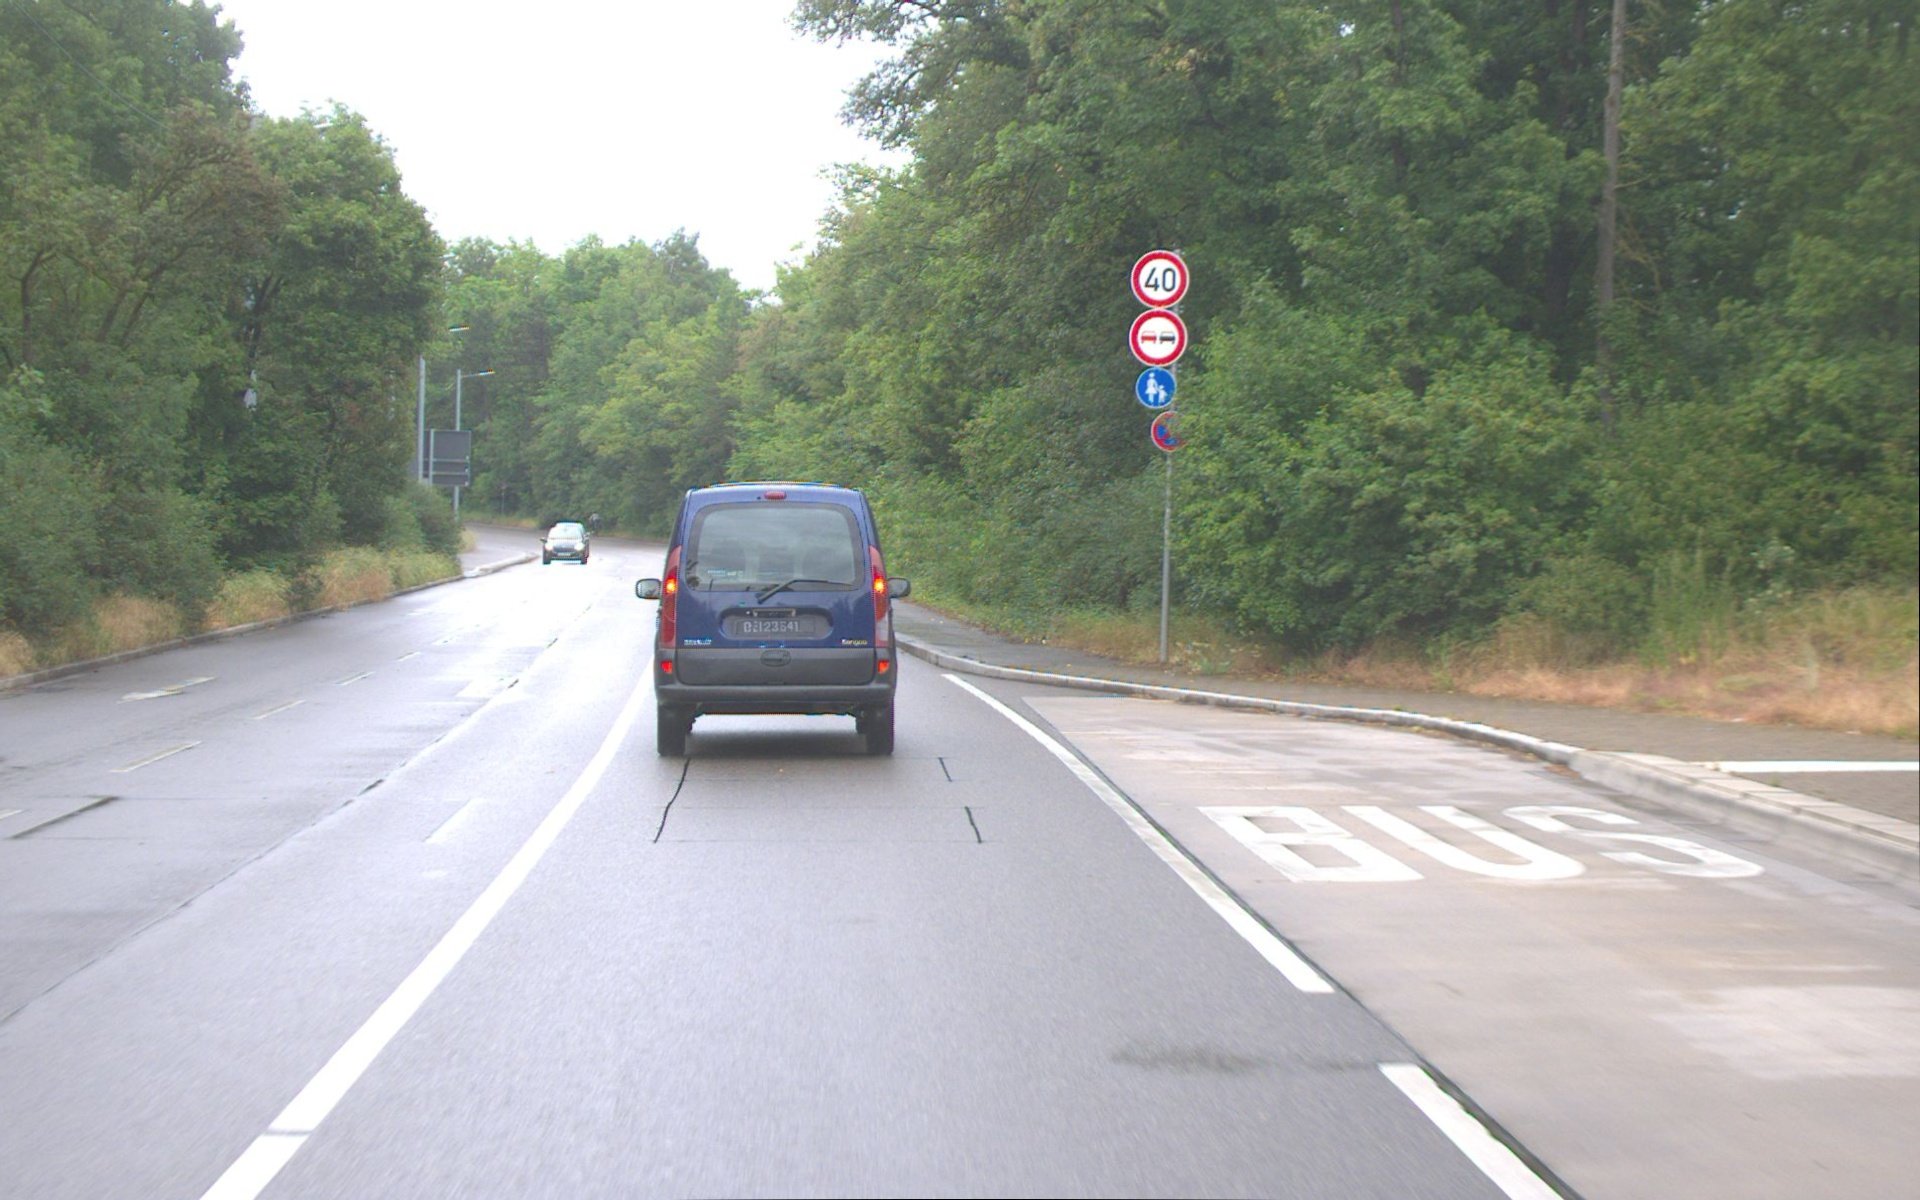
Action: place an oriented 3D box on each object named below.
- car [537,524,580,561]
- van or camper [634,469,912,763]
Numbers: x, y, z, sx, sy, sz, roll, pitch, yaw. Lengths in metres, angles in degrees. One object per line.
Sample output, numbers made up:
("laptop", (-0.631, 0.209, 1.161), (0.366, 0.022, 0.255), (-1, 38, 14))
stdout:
("car", (-15.884, -2.280, 136.114), (1.598, 1.436, 3.992), (0, 1, -5))
("van or camper", (-1.305, 0.124, 24.281), (1.712, 1.820, 4.000), (3, -1, -3))
